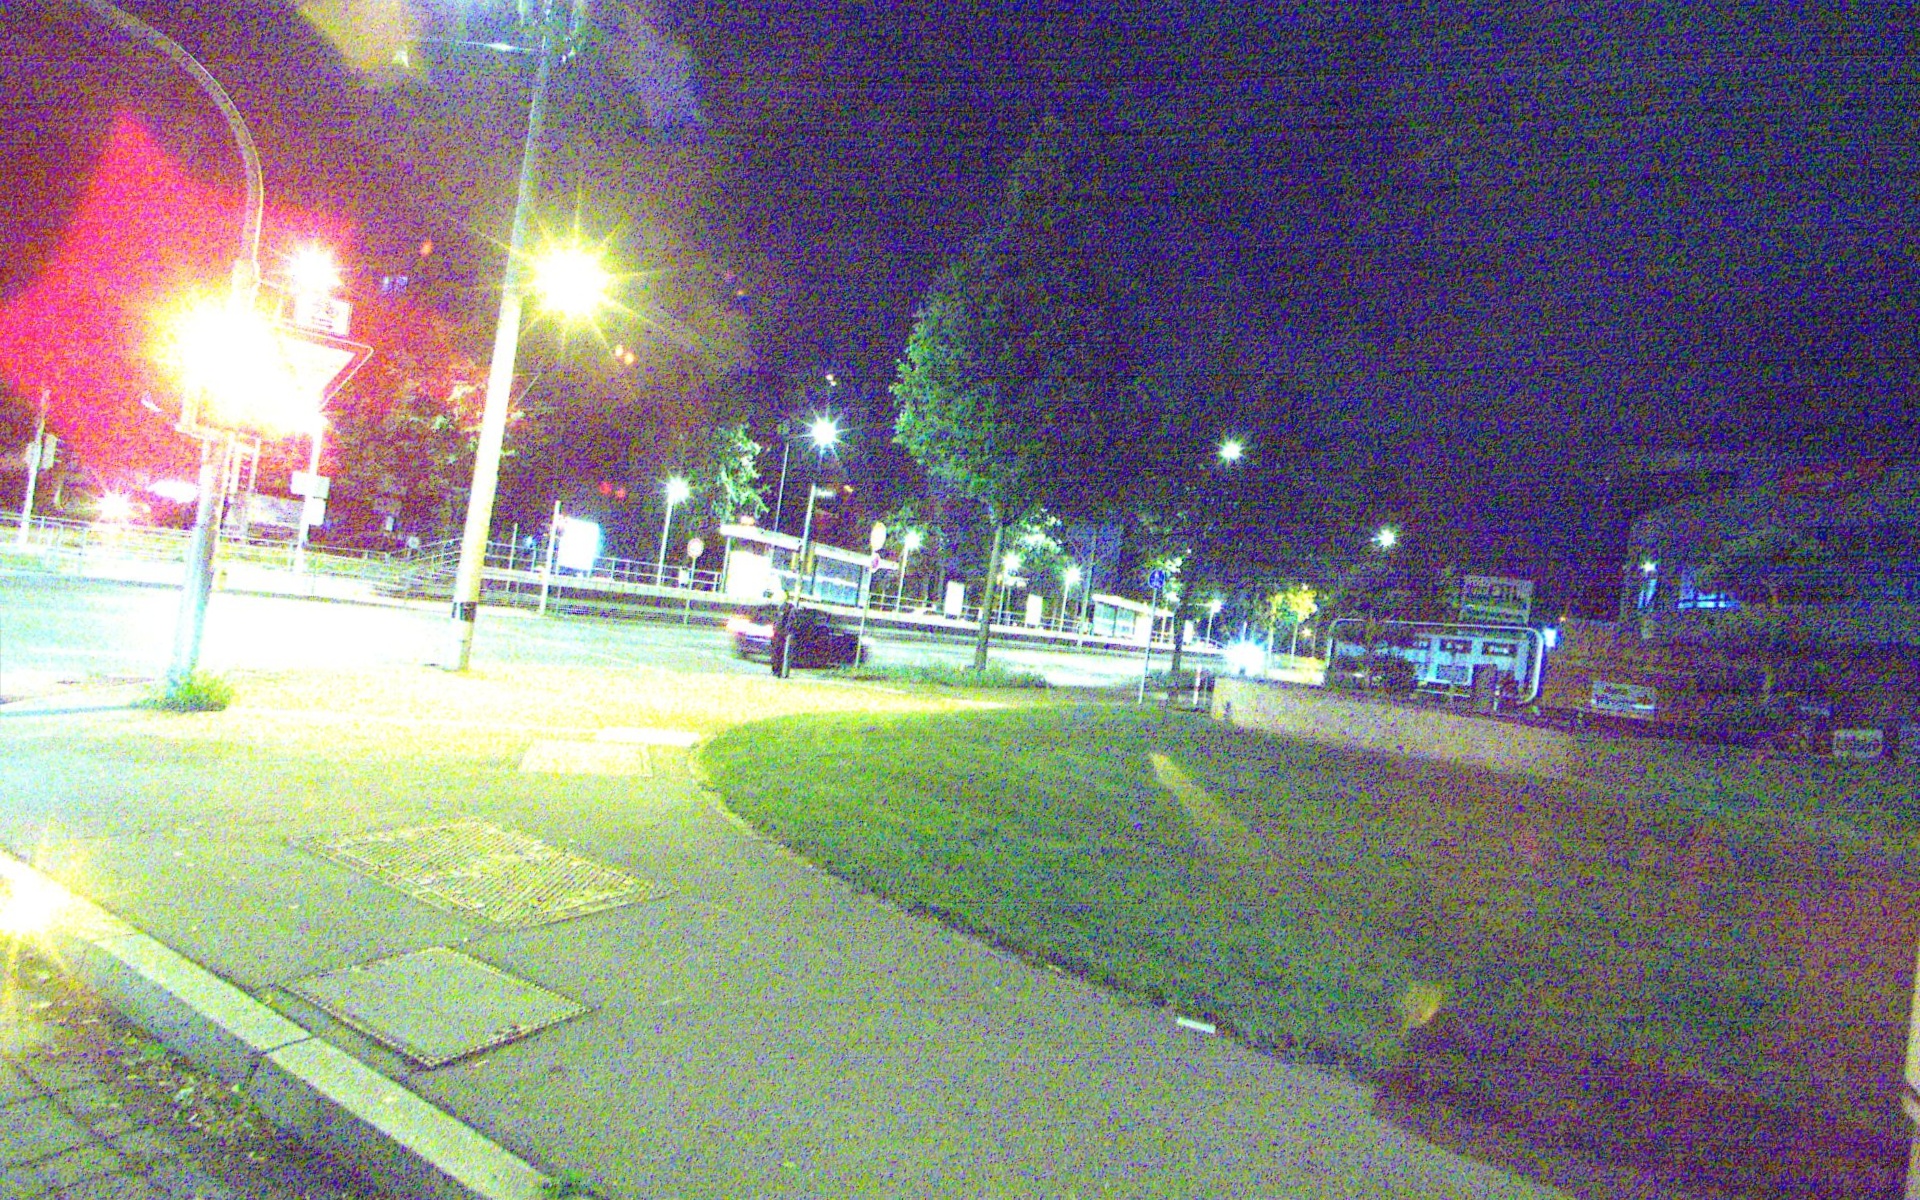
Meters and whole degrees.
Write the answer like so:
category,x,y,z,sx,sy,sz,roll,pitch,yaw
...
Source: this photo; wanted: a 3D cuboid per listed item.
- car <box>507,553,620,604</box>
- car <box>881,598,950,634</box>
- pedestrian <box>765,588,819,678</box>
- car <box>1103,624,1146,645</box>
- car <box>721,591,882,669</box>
category,x,y,z,sx,sy,sz,roll,pitch,yaw
car,-16.717,-0.869,42.509,1.776,1.604,3.986,7,0,38
car,-2.746,1.030,63.332,1.816,1.603,4.578,8,-1,33
pedestrian,-3.275,0.635,19.609,0.867,1.677,0.835,2,1,-18
car,14.207,2.993,86.667,1.822,1.437,4.429,6,-1,35
car,-3.820,0.792,24.852,1.631,1.492,3.880,10,1,32
